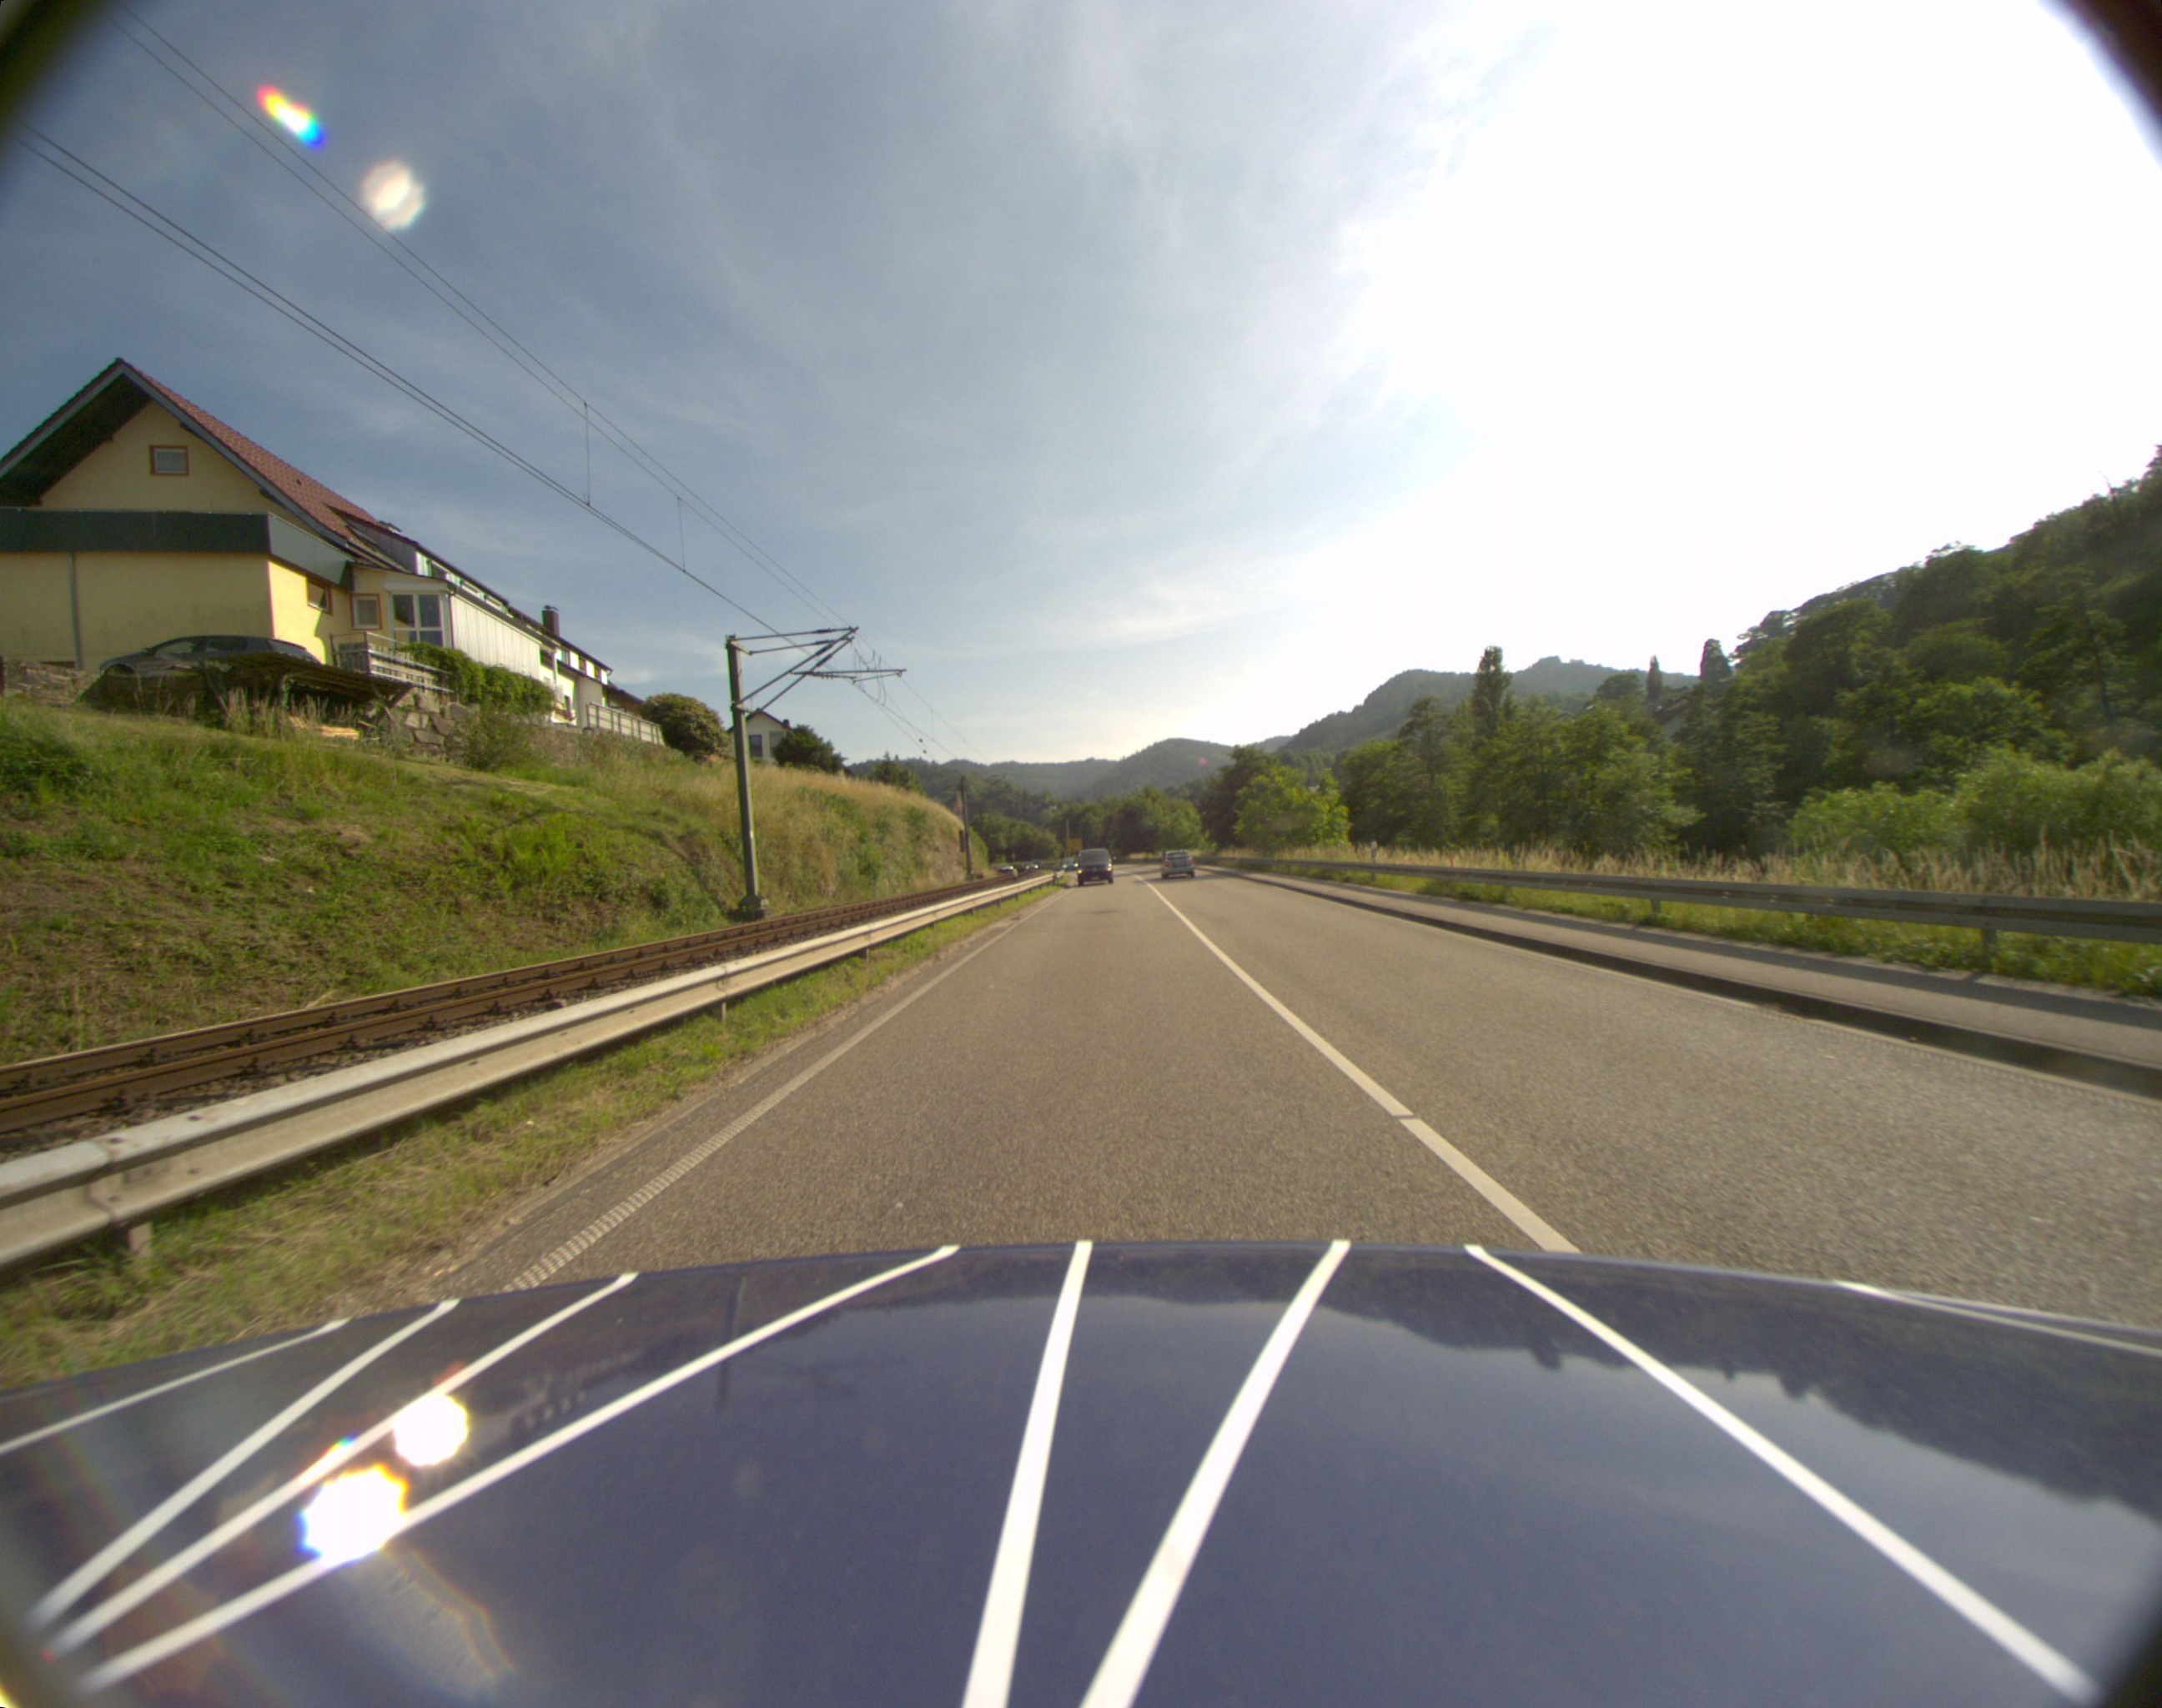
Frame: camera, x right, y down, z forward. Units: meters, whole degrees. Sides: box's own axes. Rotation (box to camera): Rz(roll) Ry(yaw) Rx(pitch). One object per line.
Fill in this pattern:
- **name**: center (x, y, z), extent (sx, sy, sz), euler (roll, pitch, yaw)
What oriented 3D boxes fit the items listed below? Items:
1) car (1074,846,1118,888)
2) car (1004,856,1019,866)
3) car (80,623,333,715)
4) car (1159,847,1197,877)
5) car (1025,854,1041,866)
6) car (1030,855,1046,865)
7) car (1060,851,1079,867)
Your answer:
- **car**: center (0.849, 0.652, 39.918), extent (2.018, 1.905, 4.313), euler (-4, 0, 3)
- **car**: center (-12.844, 1.256, 140.990), extent (1.887, 1.735, 4.173), euler (-3, 0, -17)
- **car**: center (-21.257, -4.489, 18.622), extent (3.751, 1.531, 1.751), euler (-6, 2, -5)
- **car**: center (5.280, 0.426, 41.836), extent (1.581, 1.470, 4.000), euler (-4, 0, 1)
- **car**: center (-7.767, 0.973, 123.108), extent (1.887, 1.735, 4.175), euler (-3, 0, -11)
- **car**: center (-7.660, 1.063, 136.129), extent (1.758, 1.557, 3.994), euler (-3, 0, -19)
- **car**: center (-1.375, 0.628, 90.120), extent (1.886, 1.735, 4.177), euler (-3, 0, -5)
